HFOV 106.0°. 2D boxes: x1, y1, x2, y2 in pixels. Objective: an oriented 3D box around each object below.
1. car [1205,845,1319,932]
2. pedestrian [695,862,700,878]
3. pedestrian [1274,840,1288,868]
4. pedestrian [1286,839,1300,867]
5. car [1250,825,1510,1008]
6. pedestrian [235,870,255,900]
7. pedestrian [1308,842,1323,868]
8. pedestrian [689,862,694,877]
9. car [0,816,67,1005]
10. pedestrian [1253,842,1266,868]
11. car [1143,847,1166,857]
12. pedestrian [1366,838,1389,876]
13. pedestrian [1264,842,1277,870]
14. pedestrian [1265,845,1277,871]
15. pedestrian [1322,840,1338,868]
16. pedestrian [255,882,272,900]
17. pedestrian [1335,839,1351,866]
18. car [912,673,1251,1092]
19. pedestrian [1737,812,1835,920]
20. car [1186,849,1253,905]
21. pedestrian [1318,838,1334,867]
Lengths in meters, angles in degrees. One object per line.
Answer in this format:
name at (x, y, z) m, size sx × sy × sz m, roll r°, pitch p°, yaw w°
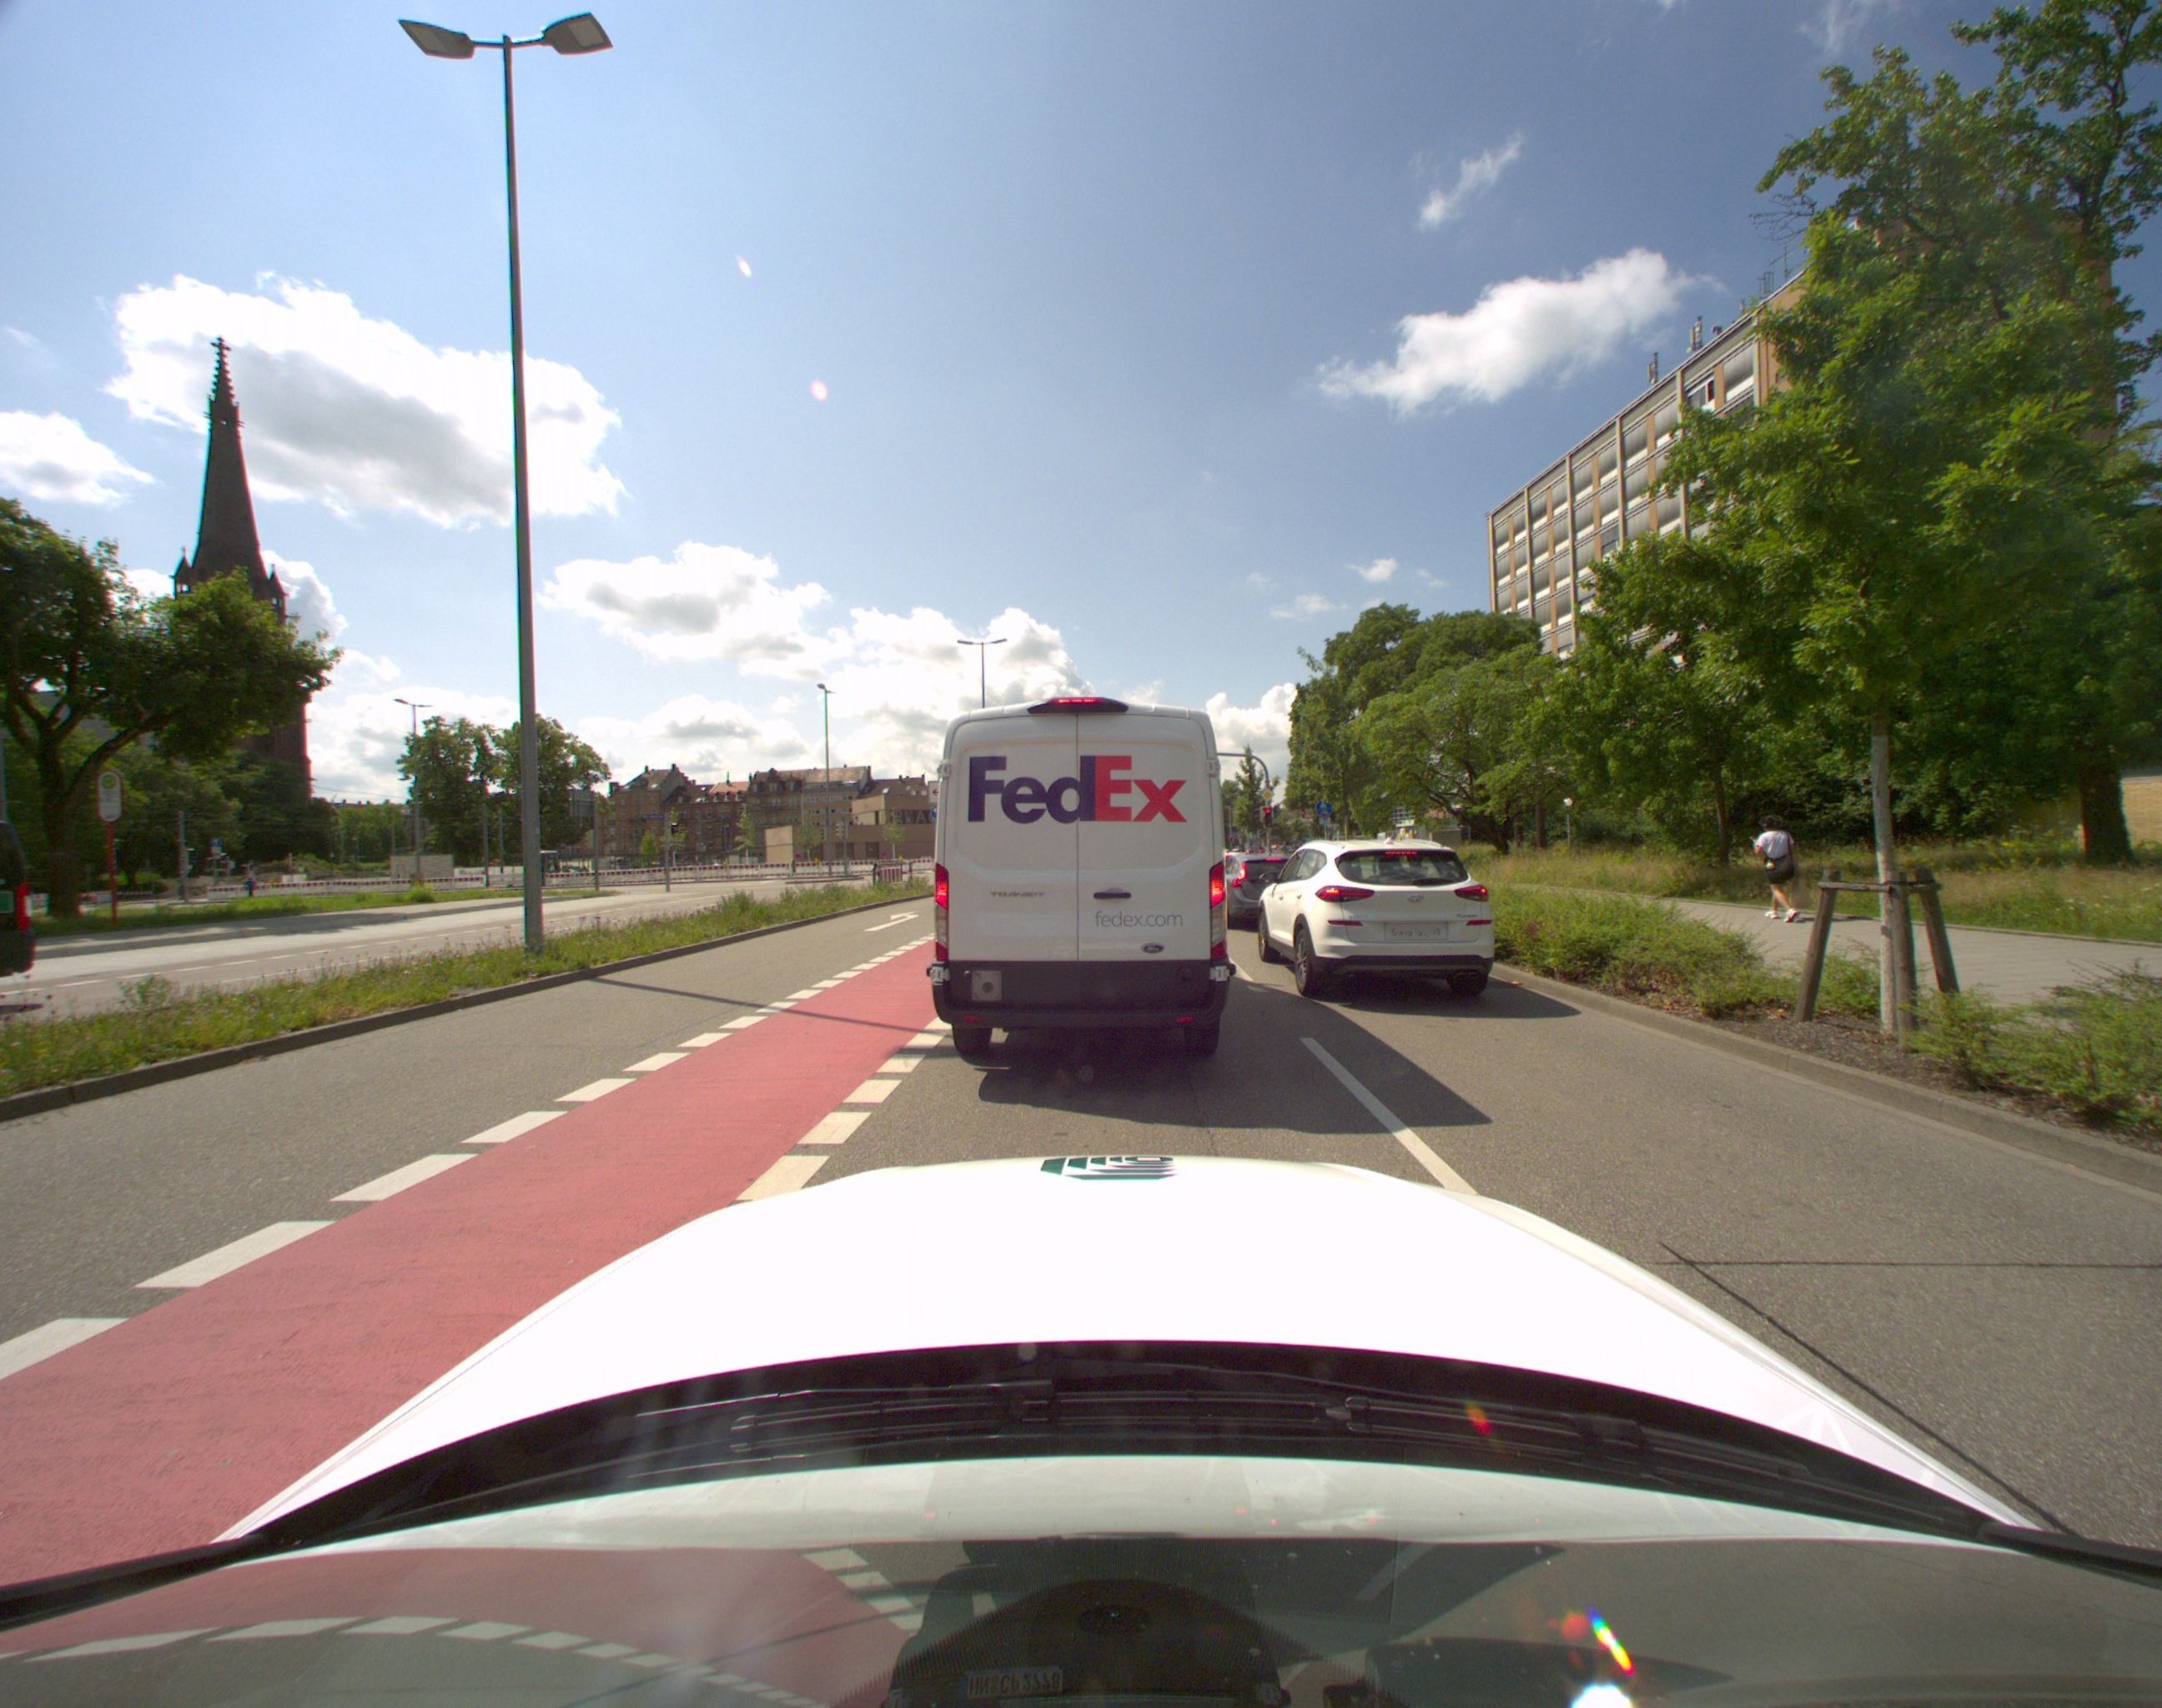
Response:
car at (3.595, 0.622, 16.790) m, size 1.684 × 1.549 × 3.724 m, roll -2°, pitch 0°, yaw 3°
pedestrian at (-42.089, 1.754, 89.367) m, size 0.420 × 1.652 × 0.420 m, roll -1°, pitch -1°, yaw 36°
pedestrian at (13.472, 0.015, 54.942) m, size 0.755 × 1.849 × 0.817 m, roll -2°, pitch 0°, yaw 3°
pedestrian at (14.386, -0.056, 55.328) m, size 0.755 × 1.849 × 0.817 m, roll -2°, pitch 0°, yaw 5°
car at (3.234, 0.579, 9.689) m, size 1.807 × 1.678 × 3.978 m, roll -2°, pitch 0°, yaw 3°
pedestrian at (-58.188, 2.137, 56.688) m, size 0.644 × 2.013 × 0.632 m, roll -2°, pitch 0°, yaw -1°
pedestrian at (17.199, 0.073, 59.722) m, size 0.757 × 1.849 × 0.815 m, roll -2°, pitch 0°, yaw -2°
pedestrian at (-43.101, 1.768, 90.105) m, size 0.420 × 1.652 × 0.420 m, roll -1°, pitch -1°, yaw 36°
car at (-13.645, 0.736, 7.480) m, size 2.140 × 2.175 × 5.021 m, roll -4°, pitch 0°, yaw 2°
pedestrian at (13.076, 0.055, 59.748) m, size 0.810 × 1.849 × 0.762 m, roll -2°, pitch 0°, yaw 5°
car at (13.896, -0.409, 153.942) m, size 4.316 × 1.872 × 1.929 m, roll 0°, pitch -1°, yaw 6°
pedestrian at (13.436, 0.126, 36.964) m, size 0.755 × 1.655 × 0.817 m, roll -2°, pitch 0°, yaw 5°
pedestrian at (13.157, 0.133, 56.536) m, size 0.752 × 1.849 × 0.820 m, roll -2°, pitch 0°, yaw 20°
pedestrian at (13.719, 0.317, 58.880) m, size 0.753 × 1.849 × 0.820 m, roll -2°, pitch 0°, yaw 16°
pedestrian at (17.186, 0.003, 56.156) m, size 0.758 × 1.849 × 0.814 m, roll -2°, pitch 0°, yaw -8°
pedestrian at (-76.010, 3.432, 75.718) m, size 0.860 × 1.663 × 0.745 m, roll -2°, pitch 0°, yaw -29°
pedestrian at (18.042, -0.090, 56.162) m, size 0.758 × 1.849 × 0.814 m, roll -2°, pitch 0°, yaw -6°
car at (0.127, 0.174, 7.343) m, size 2.064 × 2.581 × 4.432 m, roll -2°, pitch 0°, yaw 3°
pedestrian at (10.668, 0.171, 12.347) m, size 0.756 × 1.557 × 0.817 m, roll -2°, pitch 0°, yaw 2°
car at (3.908, 0.600, 23.376) m, size 1.493 × 1.464 × 3.477 m, roll -2°, pitch 0°, yaw 3°
pedestrian at (15.277, -0.115, 50.757) m, size 0.755 × 1.789 × 0.818 m, roll -2°, pitch 0°, yaw 7°
